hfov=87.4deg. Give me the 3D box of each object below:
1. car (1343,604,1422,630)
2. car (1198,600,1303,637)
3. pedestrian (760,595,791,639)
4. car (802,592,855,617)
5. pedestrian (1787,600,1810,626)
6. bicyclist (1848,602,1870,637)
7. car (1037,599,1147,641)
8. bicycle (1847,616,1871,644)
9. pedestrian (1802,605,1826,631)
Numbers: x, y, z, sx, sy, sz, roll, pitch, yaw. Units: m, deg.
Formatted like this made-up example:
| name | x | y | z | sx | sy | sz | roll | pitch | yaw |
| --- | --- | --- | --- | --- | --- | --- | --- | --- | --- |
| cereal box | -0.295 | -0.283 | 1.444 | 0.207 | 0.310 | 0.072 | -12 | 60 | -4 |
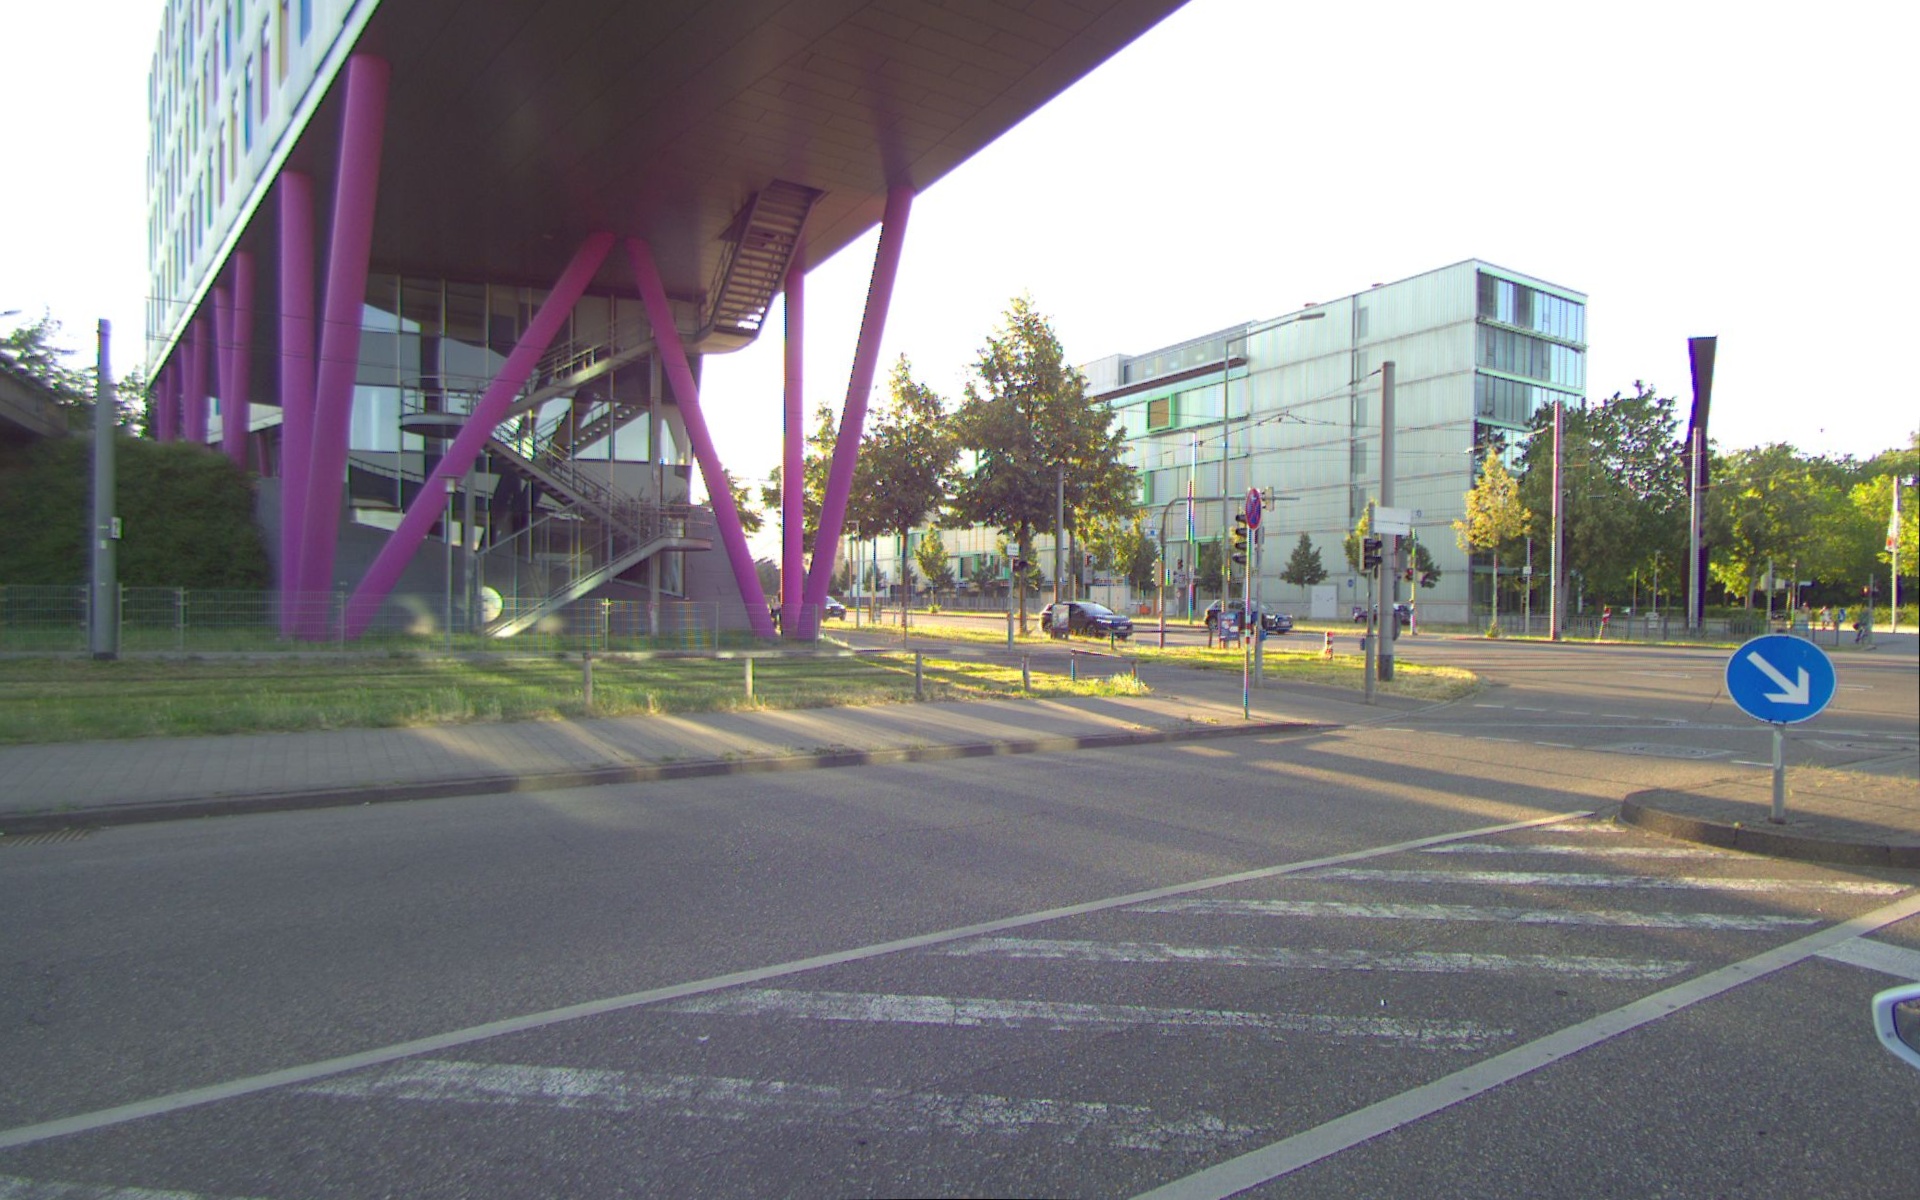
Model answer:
| name | x | y | z | sx | sy | sz | roll | pitch | yaw |
| --- | --- | --- | --- | --- | --- | --- | --- | --- | --- |
| car | 26.275 | 1.029 | 62.564 | 1.784 | 1.516 | 4.309 | 2 | -1 | -31 |
| car | 13.296 | 0.809 | 46.199 | 1.968 | 1.577 | 4.448 | 1 | 0 | -34 |
| pedestrian | -7.602 | 0.714 | 41.302 | 0.927 | 1.747 | 0.871 | 2 | -2 | -45 |
| car | -8.754 | 0.296 | 66.559 | 1.977 | 1.595 | 4.412 | 1 | 0 | -30 |
| pedestrian | 57.060 | 0.869 | 68.331 | 0.813 | 1.767 | 0.863 | 1 | 0 | 5 |
| bicyclist | 45.356 | 0.973 | 50.699 | 0.741 | 1.732 | 0.916 | 1 | 0 | 39 |
| car | 5.542 | 0.822 | 42.746 | 1.978 | 1.636 | 4.880 | 1 | 0 | -32 |
| bicycle | 45.265 | 1.503 | 50.612 | 0.721 | 1.359 | 2.679 | 1 | 0 | 38 |
| pedestrian | 58.218 | 1.240 | 68.484 | 0.814 | 1.767 | 0.863 | 1 | 0 | -1 |
